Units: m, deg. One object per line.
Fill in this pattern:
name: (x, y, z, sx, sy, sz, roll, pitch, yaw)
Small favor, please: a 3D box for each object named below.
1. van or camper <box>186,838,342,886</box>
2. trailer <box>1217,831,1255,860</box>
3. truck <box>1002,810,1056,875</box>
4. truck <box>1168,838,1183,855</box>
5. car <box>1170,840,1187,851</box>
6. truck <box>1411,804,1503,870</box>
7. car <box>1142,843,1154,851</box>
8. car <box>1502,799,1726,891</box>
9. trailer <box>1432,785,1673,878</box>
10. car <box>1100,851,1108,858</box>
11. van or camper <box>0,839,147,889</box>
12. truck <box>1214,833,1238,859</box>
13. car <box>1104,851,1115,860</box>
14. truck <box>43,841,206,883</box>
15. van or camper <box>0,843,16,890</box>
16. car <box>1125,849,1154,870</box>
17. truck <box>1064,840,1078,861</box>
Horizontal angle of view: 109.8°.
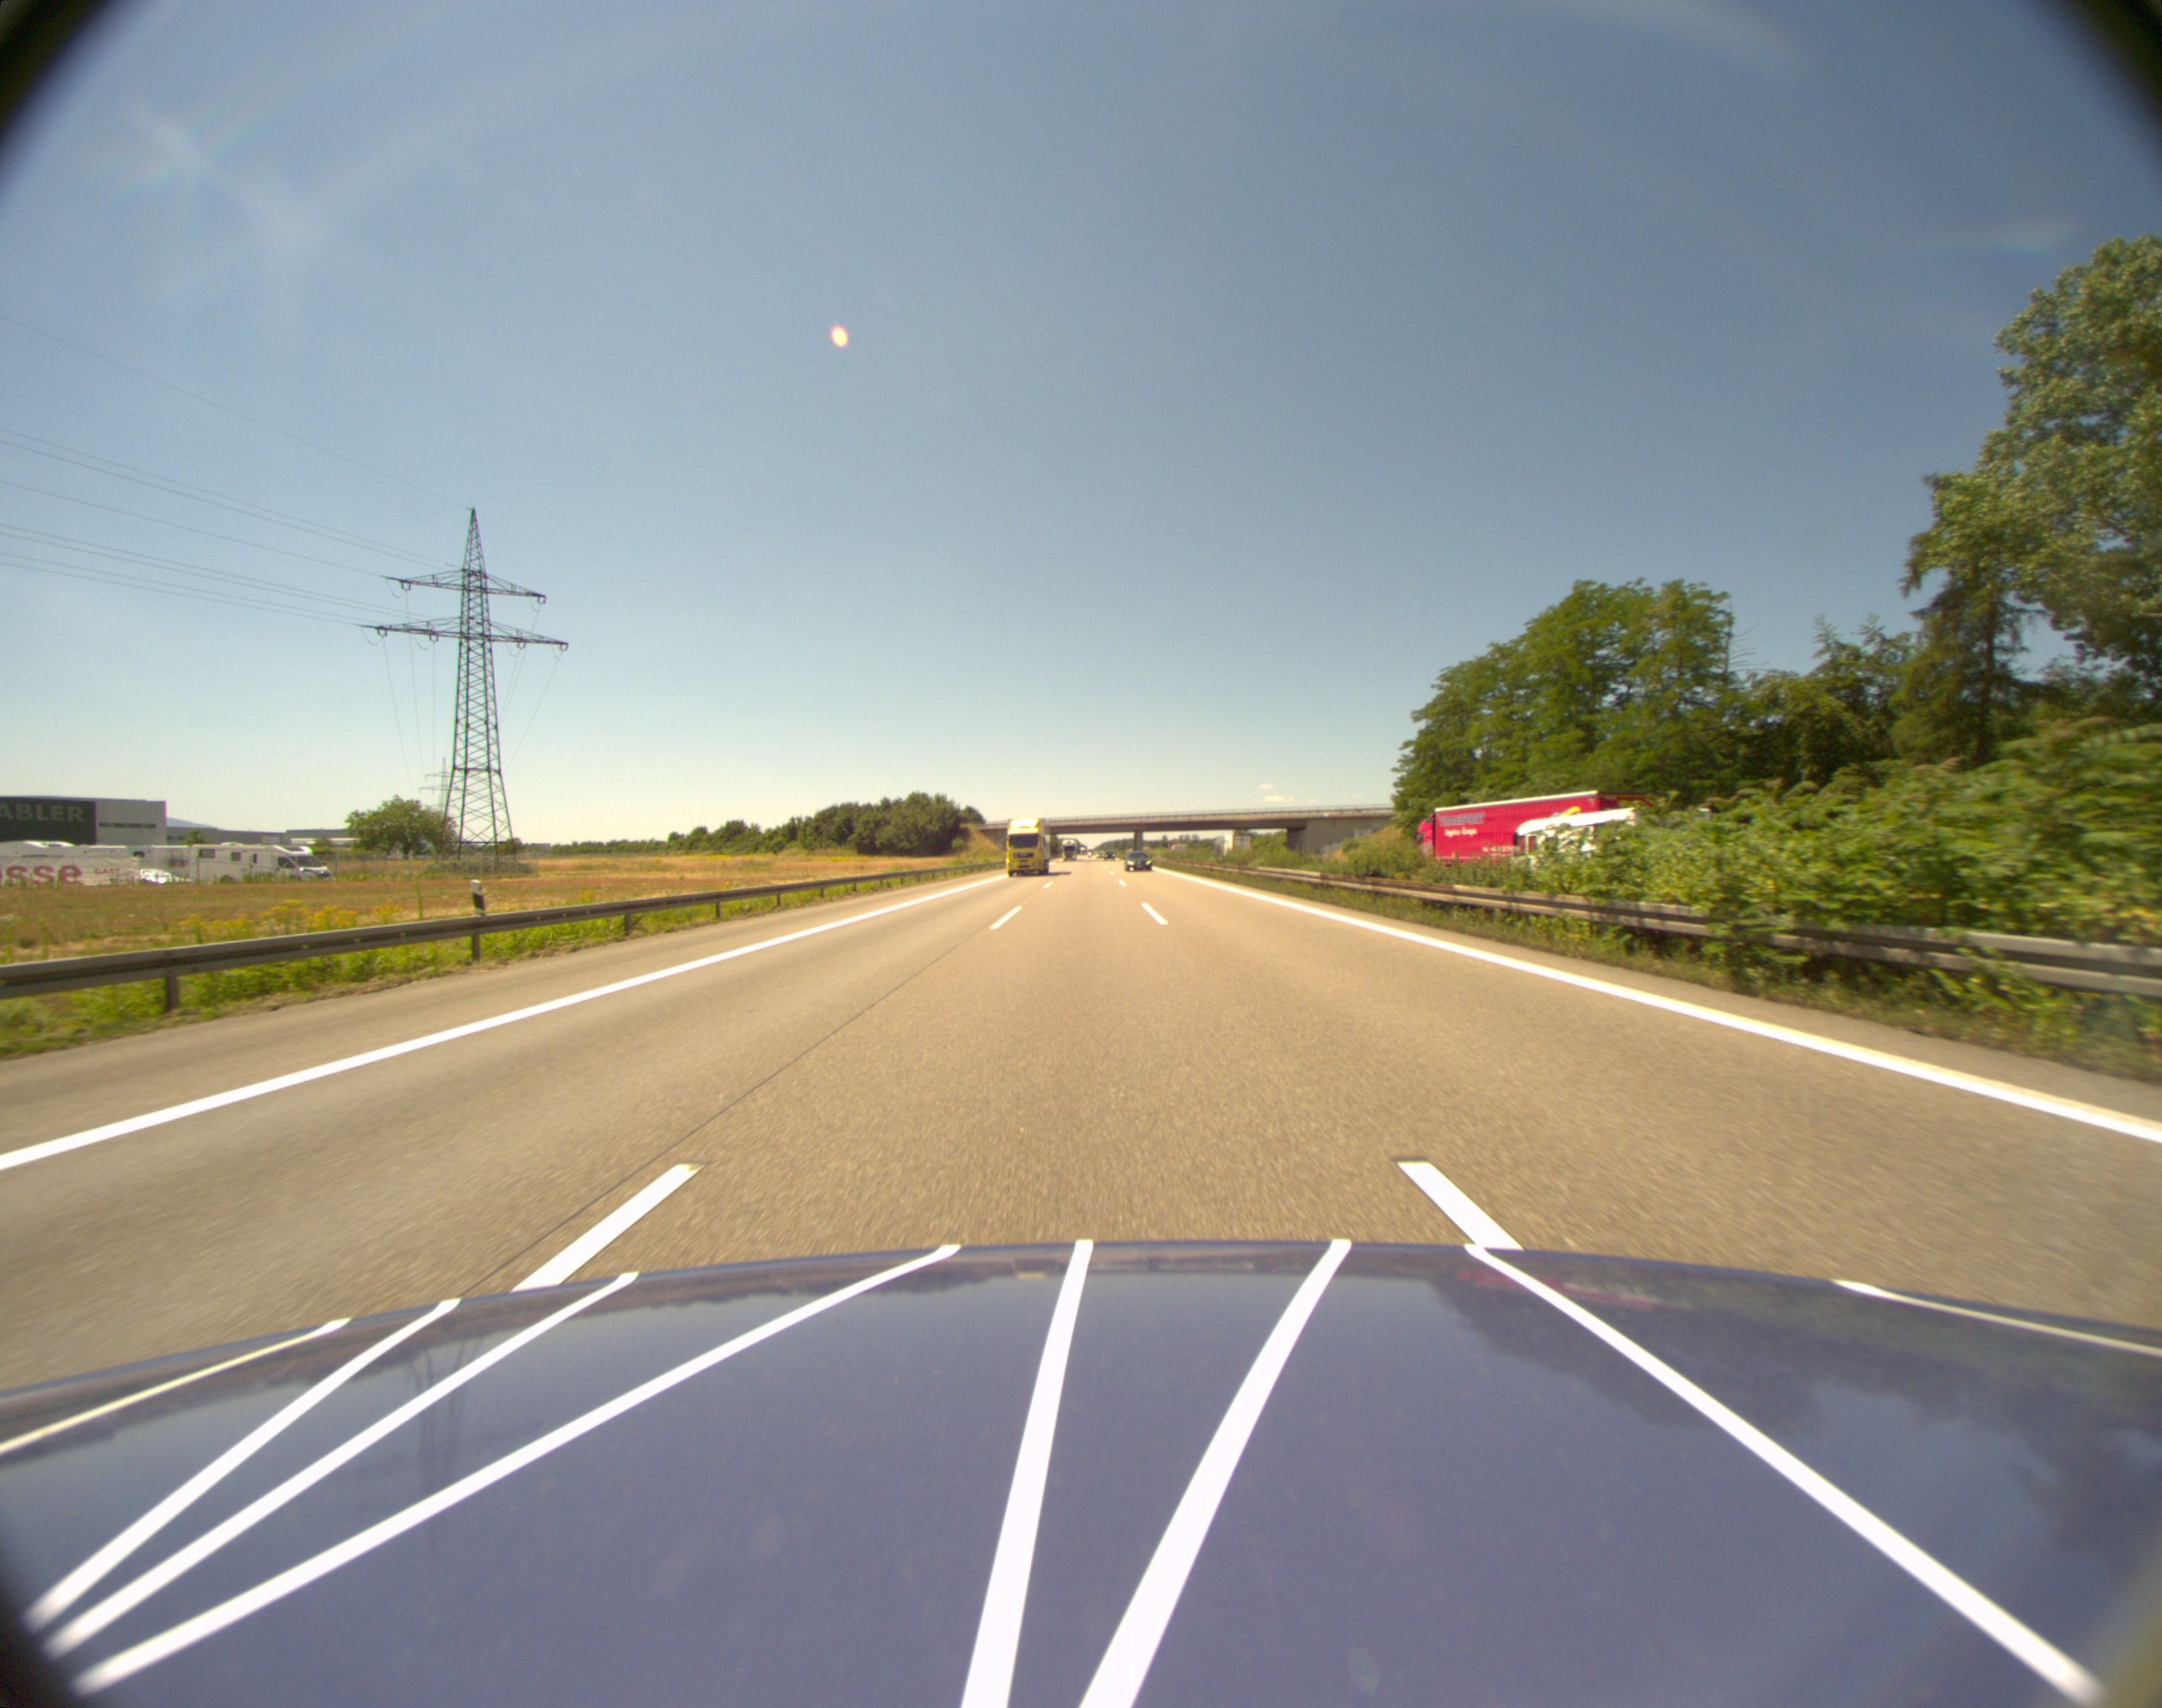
van or camper: (-55.329, 0.498, 51.591, 7.758, 3.083, 2.434, -1, 1, -1)
trailer: (22.225, -1.184, 109.836, 2.833, 3.688, 13.927, -2, 0, 1)
truck: (-3.634, -0.799, 55.694, 2.941, 4.175, 10.681, -2, 0, 1)
truck: (22.865, -1.796, 183.941, 2.618, 3.875, 6.499, -2, 0, 1)
car: (18.198, -1.579, 142.175, 2.308, 1.770, 5.423, -2, 0, 0)
truck: (21.099, -0.940, 42.926, 2.604, 3.402, 5.116, -2, 0, 0)
car: (15.336, -1.669, 174.602, 2.097, 1.770, 5.460, -2, 0, -2)
car: (16.157, -0.133, 23.737, 2.308, 2.387, 6.520, -2, -2, 0)
trailer: (21.055, -0.896, 35.725, 2.593, 3.397, 14.154, -2, 0, 1)
car: (5.215, 0.121, 172.911, 1.811, 1.417, 4.000, -2, 0, 1)
van or camper: (-69.238, 0.660, 51.537, 7.761, 3.174, 2.673, -1, 1, -6)
truck: (22.347, -1.238, 117.386, 2.802, 3.700, 5.117, -2, 0, 2)
car: (5.066, 0.232, 134.355, 1.811, 1.417, 4.000, -2, 0, 1)
truck: (-69.292, 0.562, 55.181, 7.760, 2.864, 2.772, -1, 1, -4)
van or camper: (-69.736, 0.807, 45.468, 7.760, 2.864, 2.602, -1, 1, -4)
car: (4.297, 0.364, 56.298, 1.811, 1.459, 4.000, -2, 0, 1)
truck: (-1.885, -0.762, 151.761, 2.476, 4.038, 6.320, -2, 0, 1)
